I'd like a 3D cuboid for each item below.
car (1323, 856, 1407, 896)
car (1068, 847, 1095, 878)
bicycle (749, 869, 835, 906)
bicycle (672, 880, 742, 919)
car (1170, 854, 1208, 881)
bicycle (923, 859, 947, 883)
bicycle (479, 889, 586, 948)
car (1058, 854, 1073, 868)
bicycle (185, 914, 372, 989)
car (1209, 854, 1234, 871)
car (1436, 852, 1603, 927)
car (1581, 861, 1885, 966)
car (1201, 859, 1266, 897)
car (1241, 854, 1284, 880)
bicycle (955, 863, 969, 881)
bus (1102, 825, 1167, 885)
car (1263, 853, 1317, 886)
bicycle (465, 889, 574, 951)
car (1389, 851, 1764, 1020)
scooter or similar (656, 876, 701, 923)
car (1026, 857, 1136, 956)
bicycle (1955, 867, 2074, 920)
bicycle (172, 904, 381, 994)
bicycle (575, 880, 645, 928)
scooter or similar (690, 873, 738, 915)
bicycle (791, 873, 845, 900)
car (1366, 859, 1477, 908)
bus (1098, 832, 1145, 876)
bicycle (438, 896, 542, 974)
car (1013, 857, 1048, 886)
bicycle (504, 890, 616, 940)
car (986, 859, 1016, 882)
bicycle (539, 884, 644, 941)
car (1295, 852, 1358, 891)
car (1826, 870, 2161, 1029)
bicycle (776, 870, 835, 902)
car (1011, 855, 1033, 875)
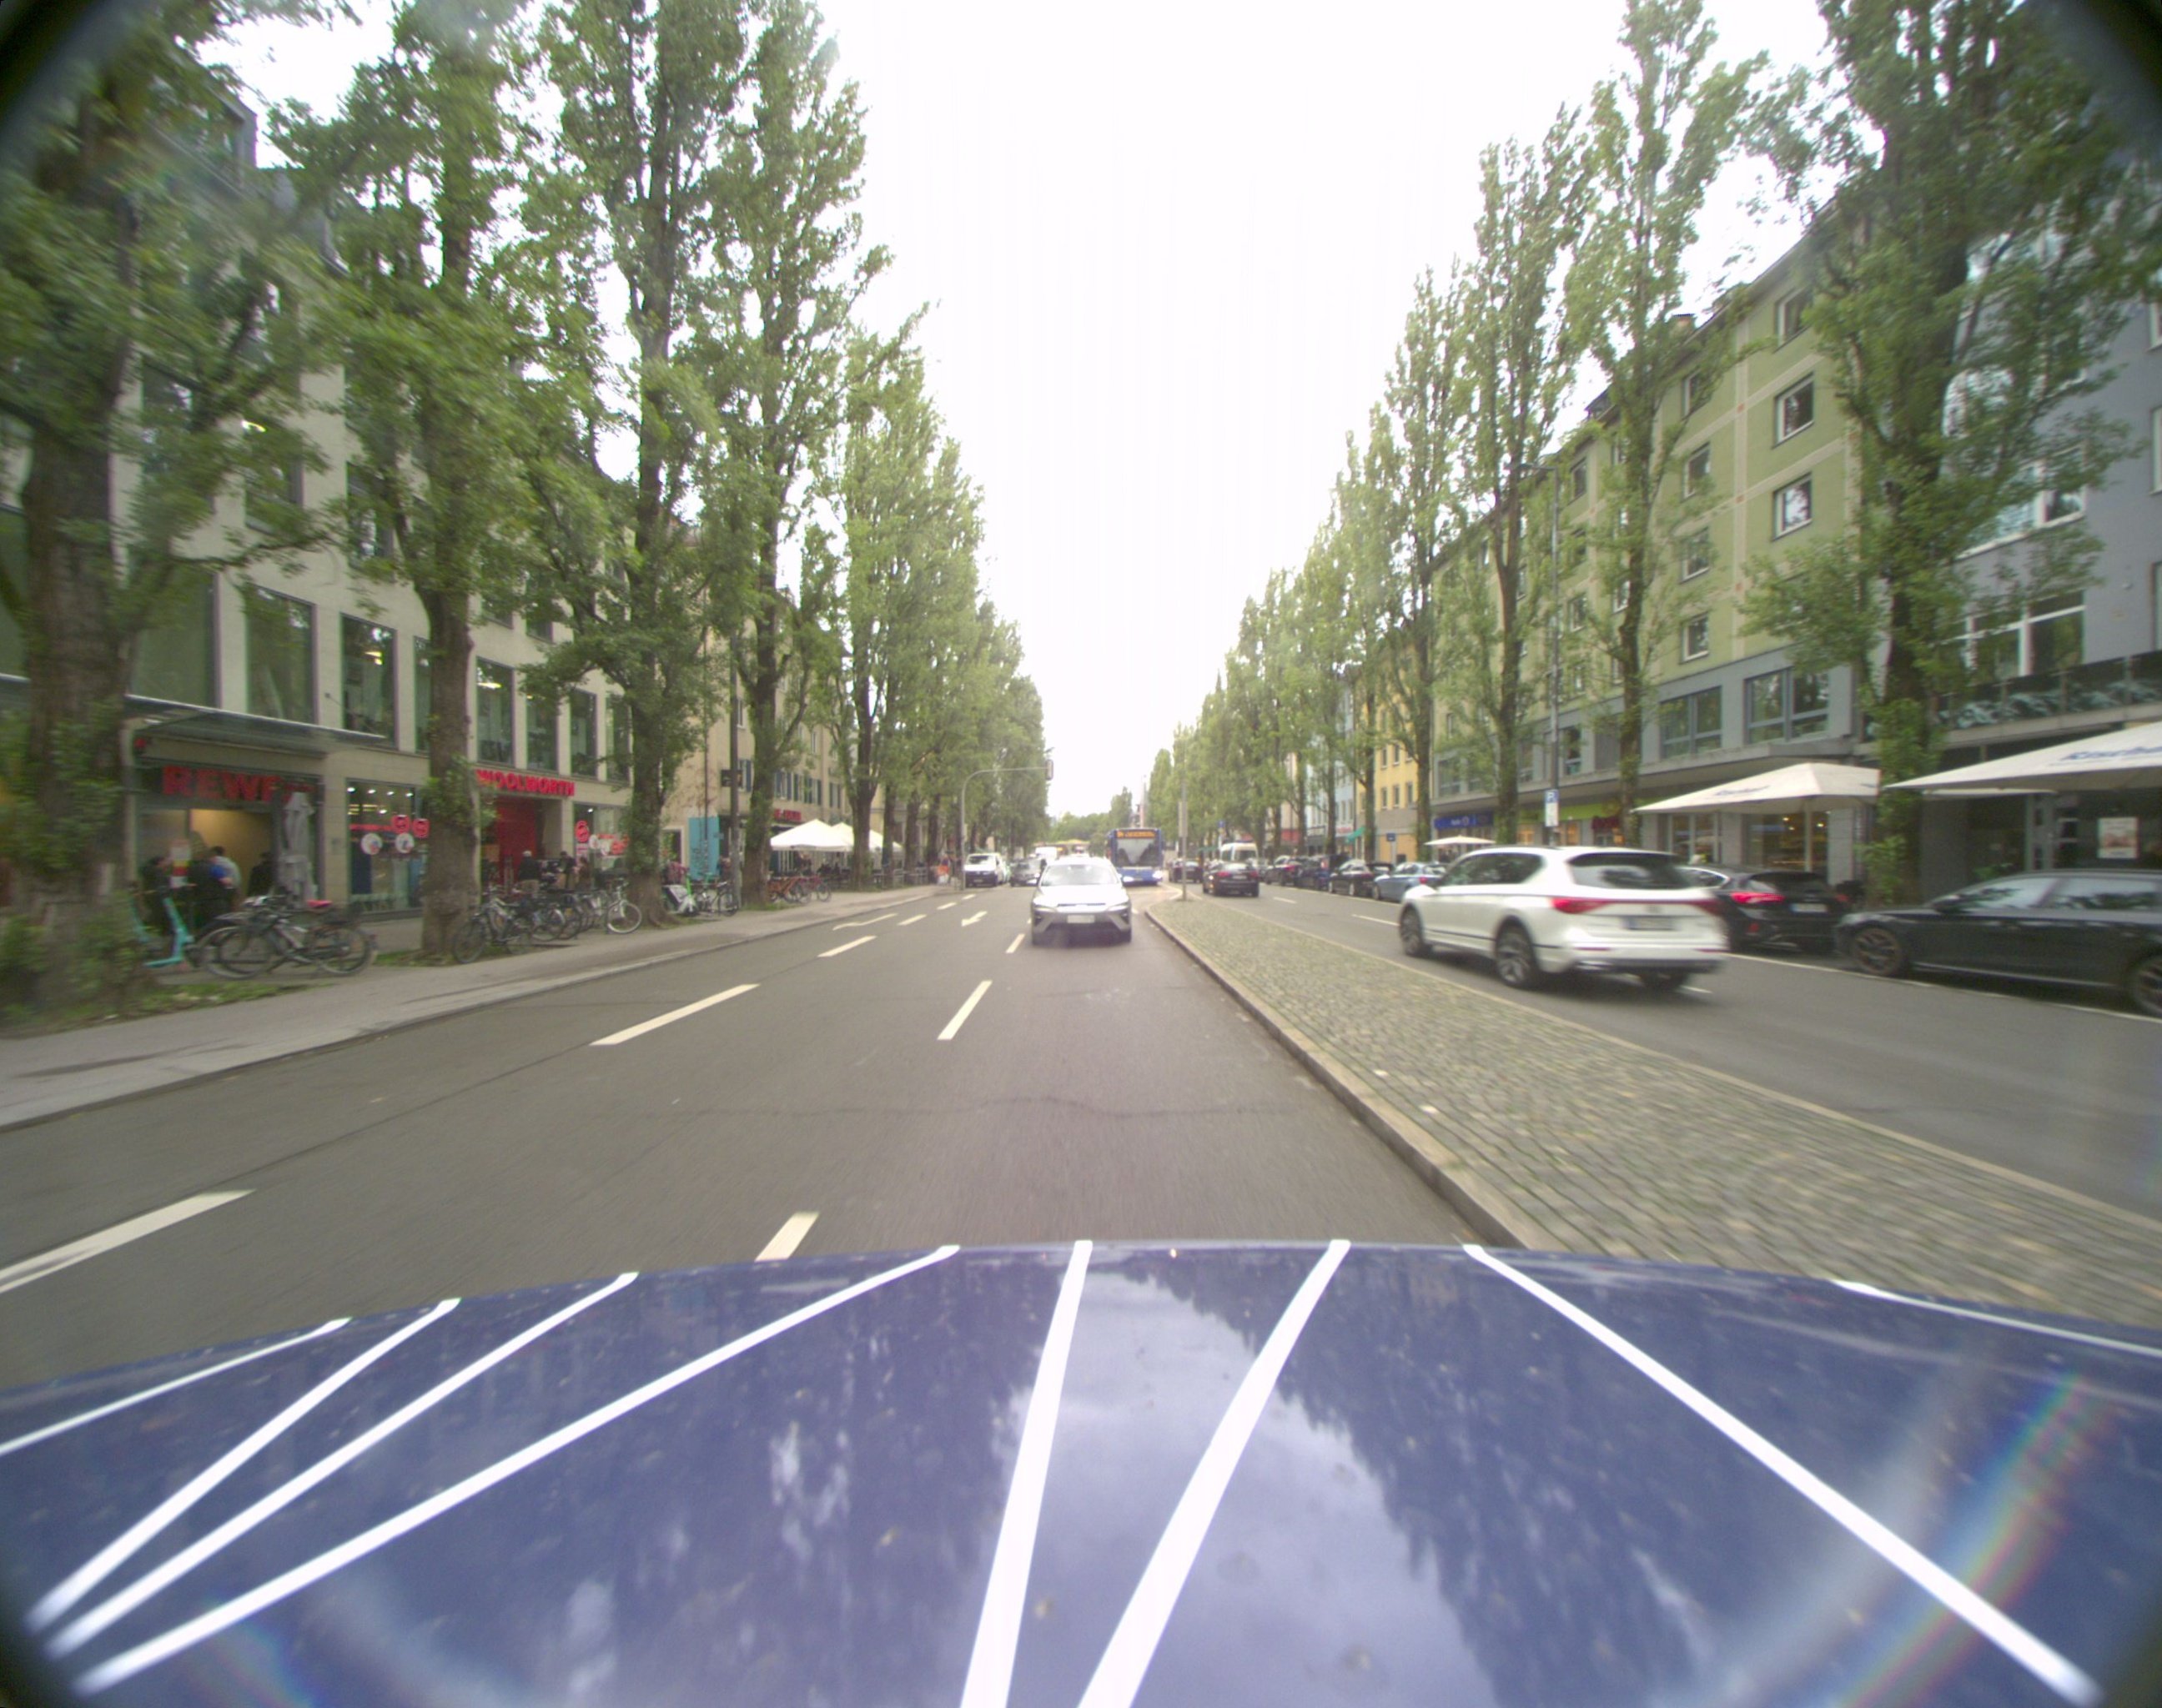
[{"bbox_3d":[11.308,0.837,30.587,1.707,1.438,4.585,0,1,1],"label":"car"},{"bbox_3d":[0.032,0.647,60.293,2.025,2.235,4.410,-2,0,0],"label":"car"},{"bbox_3d":[-9.993,1.155,26.343,2.577,1.208,0.965,0,0,1],"label":"bicycle"},{"bbox_3d":[-10.326,1.255,20.990,1.842,1.003,0.393,1,1,10],"label":"bicycle"},{"bbox_3d":[6.468,0.774,45.802,1.761,1.457,4.050,1,1,2],"label":"car"},{"bbox_3d":[-9.196,1.056,47.759,0.829,1.403,2.594,-1,0,-25],"label":"bicycle"},{"bbox_3d":[-10.691,1.247,14.834,1.666,1.100,0.396,0,1,-11],"label":"bicycle"},{"bbox_3d":[-1.895,0.824,92.805,1.758,1.529,3.916,-2,0,0],"label":"car"},{"bbox_3d":[-10.941,1.320,10.389,2.005,0.939,0.286,-1,1,-8],"label":"bicycle"},{"bbox_3d":[11.787,0.694,63.982,1.559,1.403,3.761,0,0,2],"label":"car"},{"bbox_3d":[11.193,0.818,19.841,1.784,1.671,4.586,1,1,2],"label":"car"},{"bbox_3d":[11.209,0.917,13.578,1.681,1.458,4.370,1,1,0],"label":"car"},{"bbox_3d":[6.076,0.918,30.750,1.841,1.353,4.176,2,0,1],"label":"car"},{"bbox_3d":[11.894,0.822,49.998,1.707,1.520,4.260,1,1,-1],"label":"car"},{"bbox_3d":[-7.703,1.162,49.278,0.568,1.072,2.503,-1,0,-2],"label":"bicycle"},{"bbox_3d":[2.807,0.037,43.699,2.806,2.886,12.857,0,0,0],"label":"bus"},{"bbox_3d":[11.311,0.791,41.439,1.707,1.623,4.503,1,1,0],"label":"car"},{"bbox_3d":[-10.635,1.235,14.428,1.679,1.110,0.286,0,1,-12],"label":"bicycle"},{"bbox_3d":[5.760,0.792,9.703,1.848,1.626,4.575,1,0,1],"label":"car"},{"bbox_3d":[-10.597,1.179,19.999,1.241,1.163,0.404,0,2,30],"label":"scooter or similar"},{"bbox_3d":[0.005,0.886,14.676,1.758,1.529,3.916,-3,0,0],"label":"car"},{"bbox_3d":[20.756,0.847,16.938,0.618,1.090,1.579,-1,0,-11],"label":"bicycle"},{"bbox_3d":[-10.527,1.228,9.998,2.006,1.077,0.285,-1,1,-16],"label":"bicycle"},{"bbox_3d":[-11.834,1.226,19.166,0.392,1.057,2.006,1,0,4],"label":"bicycle"},{"bbox_3d":[-11.015,1.185,22.857,0.306,1.163,1.246,-1,1,39],"label":"scooter or similar"},{"bbox_3d":[-9.908,1.228,28.637,1.844,1.003,0.503,0,1,1],"label":"bicycle"},{"bbox_3d":[11.260,0.917,25.490,1.662,1.409,4.400,1,1,-1],"label":"car"},{"bbox_3d":[2.803,0.012,56.568,2.806,2.886,12.857,0,0,0],"label":"bus"},{"bbox_3d":[-9.679,1.285,12.537,0.435,1.055,2.003,0,0,-9],"label":"bicycle"},{"bbox_3d":[-2.898,0.974,44.253,1.758,1.529,3.916,-2,0,0],"label":"car"},{"bbox_3d":[-11.220,1.300,16.396,2.005,0.982,0.392,-1,1,-8],"label":"bicycle"},{"bbox_3d":[-5.208,1.058,49.601,1.476,1.389,3.483,0,0,1],"label":"car"},{"bbox_3d":[-10.253,1.217,15.937,1.871,1.129,0.339,0,1,-8],"label":"bicycle"},{"bbox_3d":[11.631,0.787,36.294,1.622,1.677,3.770,2,1,-2],"label":"car"},{"bbox_3d":[11.089,0.957,8.196,1.707,1.404,4.433,1,1,0],"label":"car"},{"bbox_3d":[-10.051,1.175,27.736,1.902,1.120,0.686,0,1,1],"label":"bicycle"},{"bbox_3d":[-4.854,0.893,62.906,1.476,1.518,3.602,-1,0,1],"label":"car"}]
